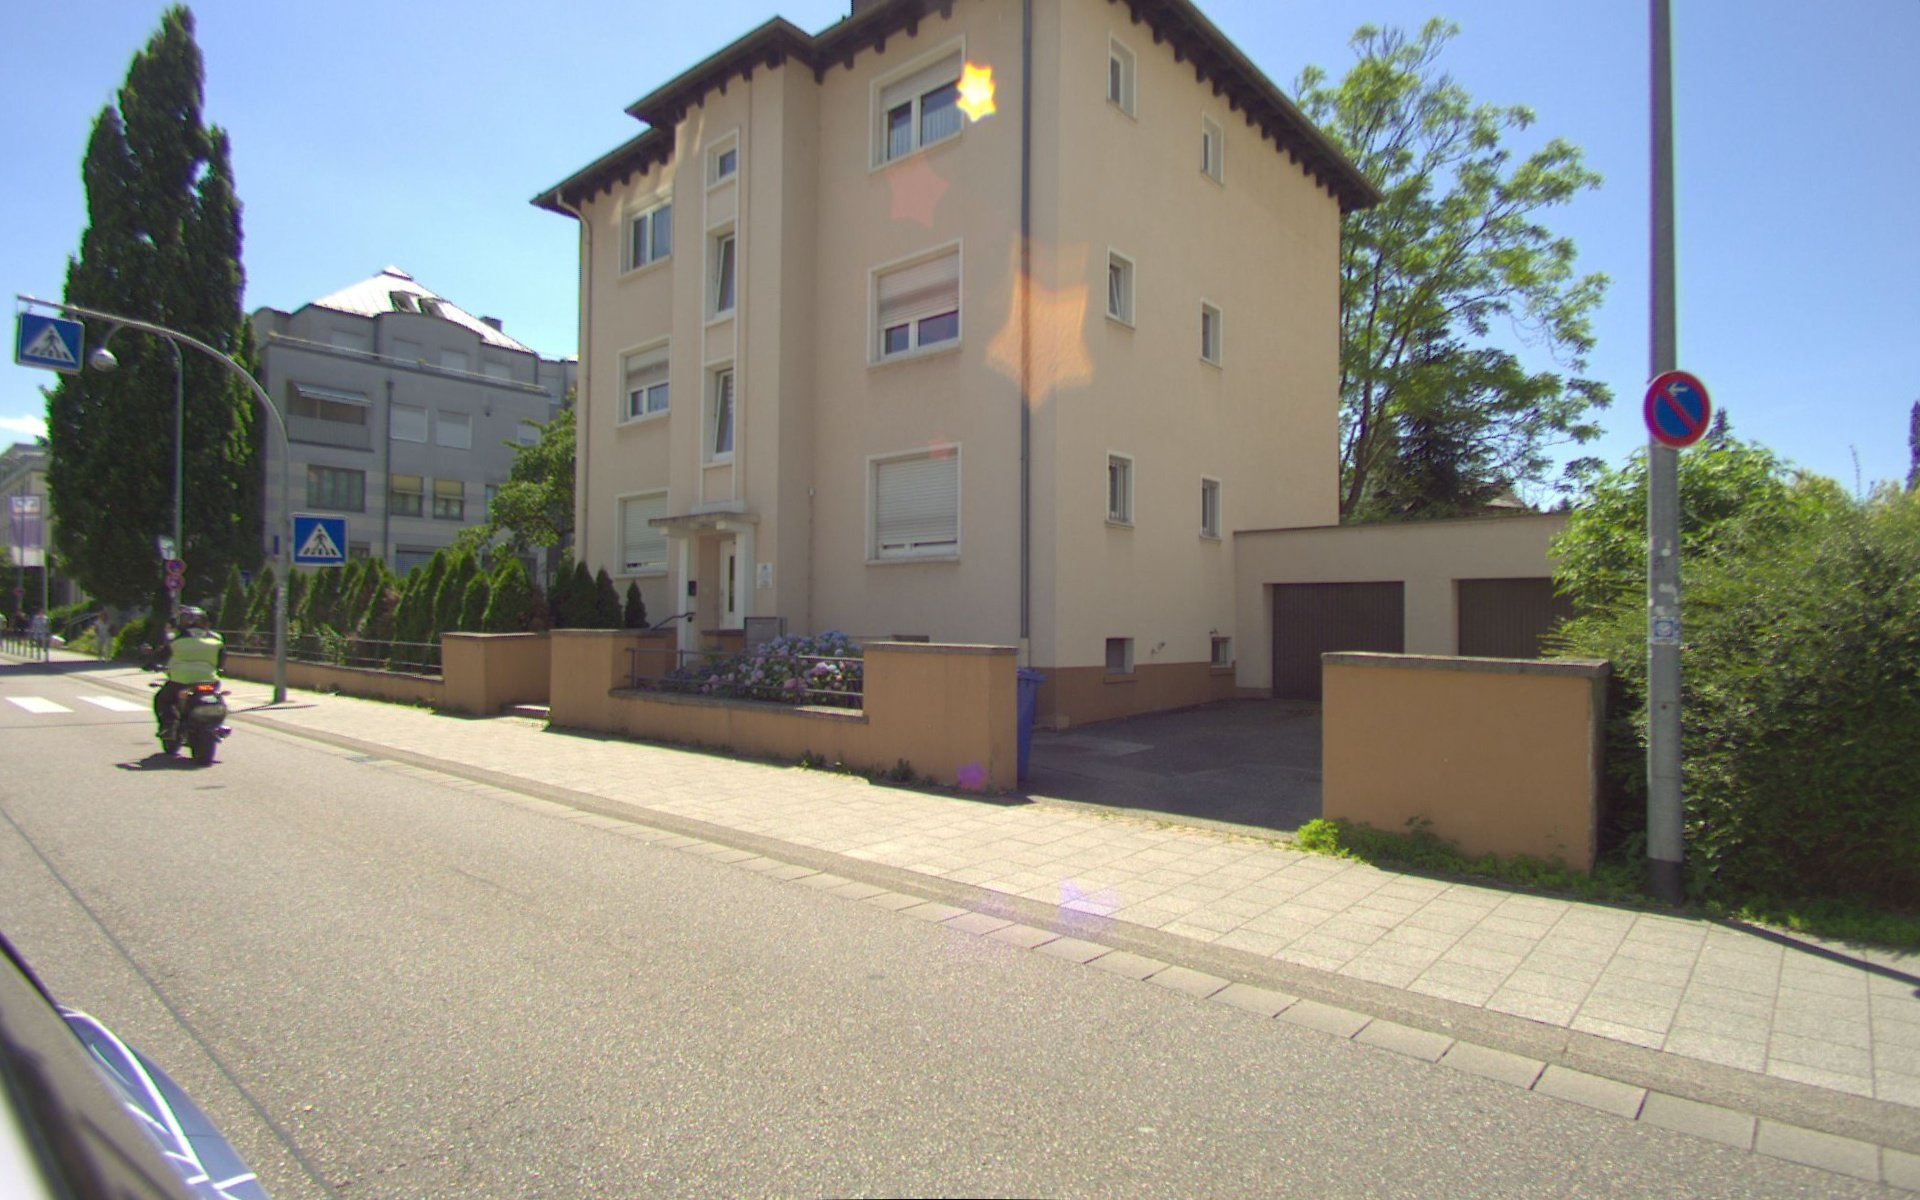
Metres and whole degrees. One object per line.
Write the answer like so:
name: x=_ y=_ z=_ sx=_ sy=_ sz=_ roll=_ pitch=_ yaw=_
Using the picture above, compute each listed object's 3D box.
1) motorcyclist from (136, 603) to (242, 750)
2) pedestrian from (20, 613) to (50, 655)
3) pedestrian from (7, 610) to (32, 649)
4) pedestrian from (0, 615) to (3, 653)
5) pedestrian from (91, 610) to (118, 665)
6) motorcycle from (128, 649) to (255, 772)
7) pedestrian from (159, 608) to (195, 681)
motorcyclist: x=-7.976 y=0.778 z=10.475 sx=0.707 sy=1.444 sz=0.691 roll=-1 pitch=-4 yaw=43
pedestrian: x=-37.336 y=1.357 z=40.848 sx=0.751 sy=1.657 sz=0.836 roll=0 pitch=1 yaw=43
pedestrian: x=-43.368 y=1.358 z=46.657 sx=0.950 sy=1.784 sz=0.740 roll=-1 pitch=-2 yaw=40
pedestrian: x=-43.905 y=1.541 z=45.923 sx=0.903 sy=1.689 sz=0.614 roll=-1 pitch=0 yaw=40
pedestrian: x=-27.095 y=1.177 z=32.064 sx=0.708 sy=1.698 sz=0.531 roll=-1 pitch=-2 yaw=41
motorcycle: x=-7.914 y=1.085 z=10.396 sx=1.790 sy=1.116 sz=0.691 roll=-1 pitch=-4 yaw=43
pedestrian: x=-18.594 y=1.037 z=24.027 sx=0.708 sy=1.698 sz=0.531 roll=-1 pitch=-2 yaw=41
